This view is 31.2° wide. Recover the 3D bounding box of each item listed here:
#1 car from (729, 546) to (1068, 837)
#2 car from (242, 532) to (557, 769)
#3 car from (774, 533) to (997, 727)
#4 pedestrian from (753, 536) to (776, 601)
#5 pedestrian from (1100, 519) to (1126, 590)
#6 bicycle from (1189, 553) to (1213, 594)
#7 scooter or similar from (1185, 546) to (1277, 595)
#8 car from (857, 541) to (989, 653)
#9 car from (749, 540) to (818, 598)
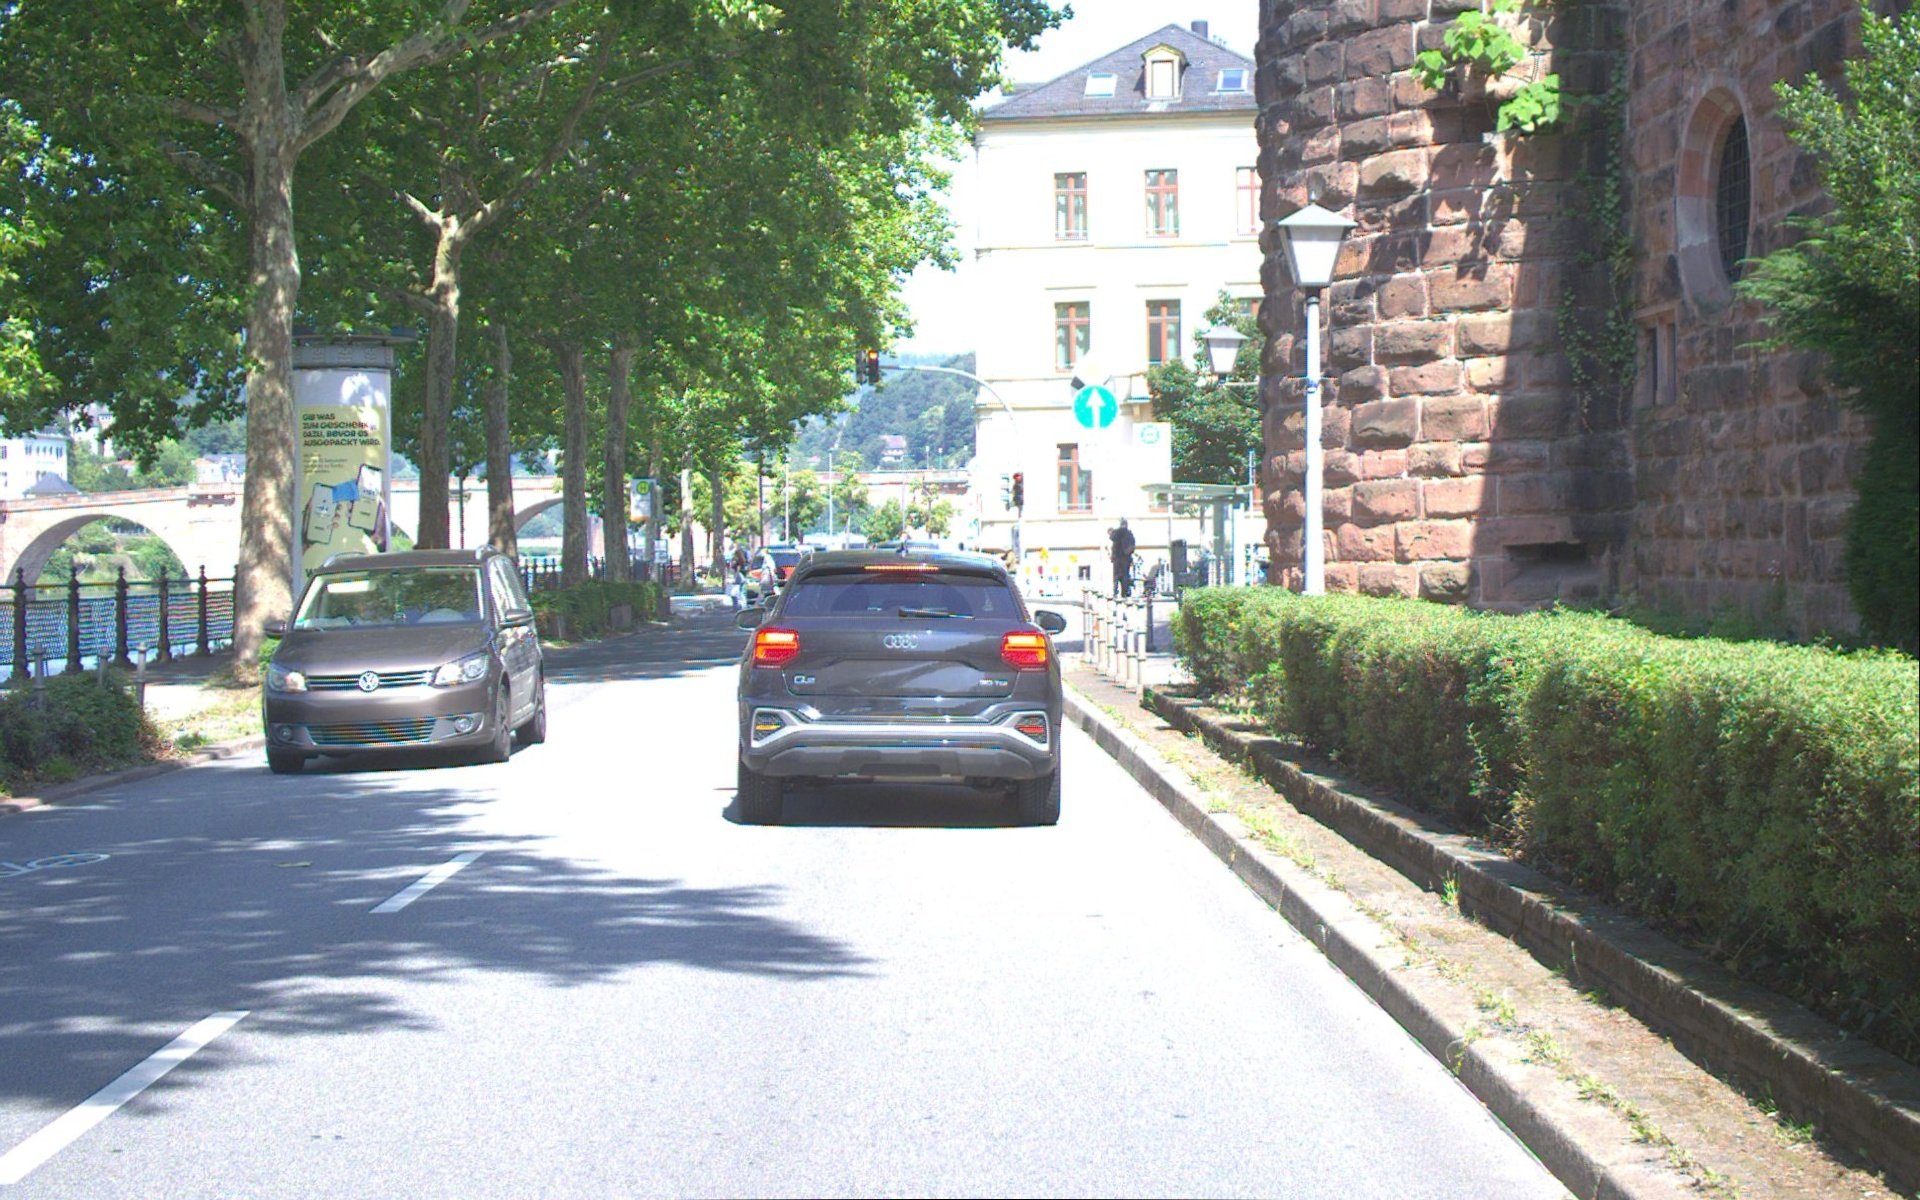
[{"bbox_3d":[-0.380,0.454,19.879,1.748,1.489,3.629,1,1,-2],"label":"car"},{"bbox_3d":[-4.237,0.328,26.566,1.763,1.642,4.090,-2,1,-1],"label":"car"},{"bbox_3d":[-0.629,0.217,30.379,1.801,1.557,3.716,-2,1,0],"label":"car"},{"bbox_3d":[-5.010,-0.805,88.168,0.517,1.632,0.439,-2,1,-8],"label":"pedestrian"},{"bbox_3d":[3.523,-1.044,79.074,0.557,1.627,0.660,1,0,0],"label":"pedestrian"},{"bbox_3d":[5.785,-0.633,82.557,0.450,0.971,1.400,1,1,0],"label":"bicycle"},{"bbox_3d":[5.635,-0.618,71.559,1.845,0.960,0.429,2,0,-1],"label":"scooter or similar"},{"bbox_3d":[-0.524,-0.075,49.020,1.801,1.518,3.716,0,1,0],"label":"car"},{"bbox_3d":[-4.828,-0.859,94.598,1.615,1.518,3.476,-2,1,1],"label":"car"}]
